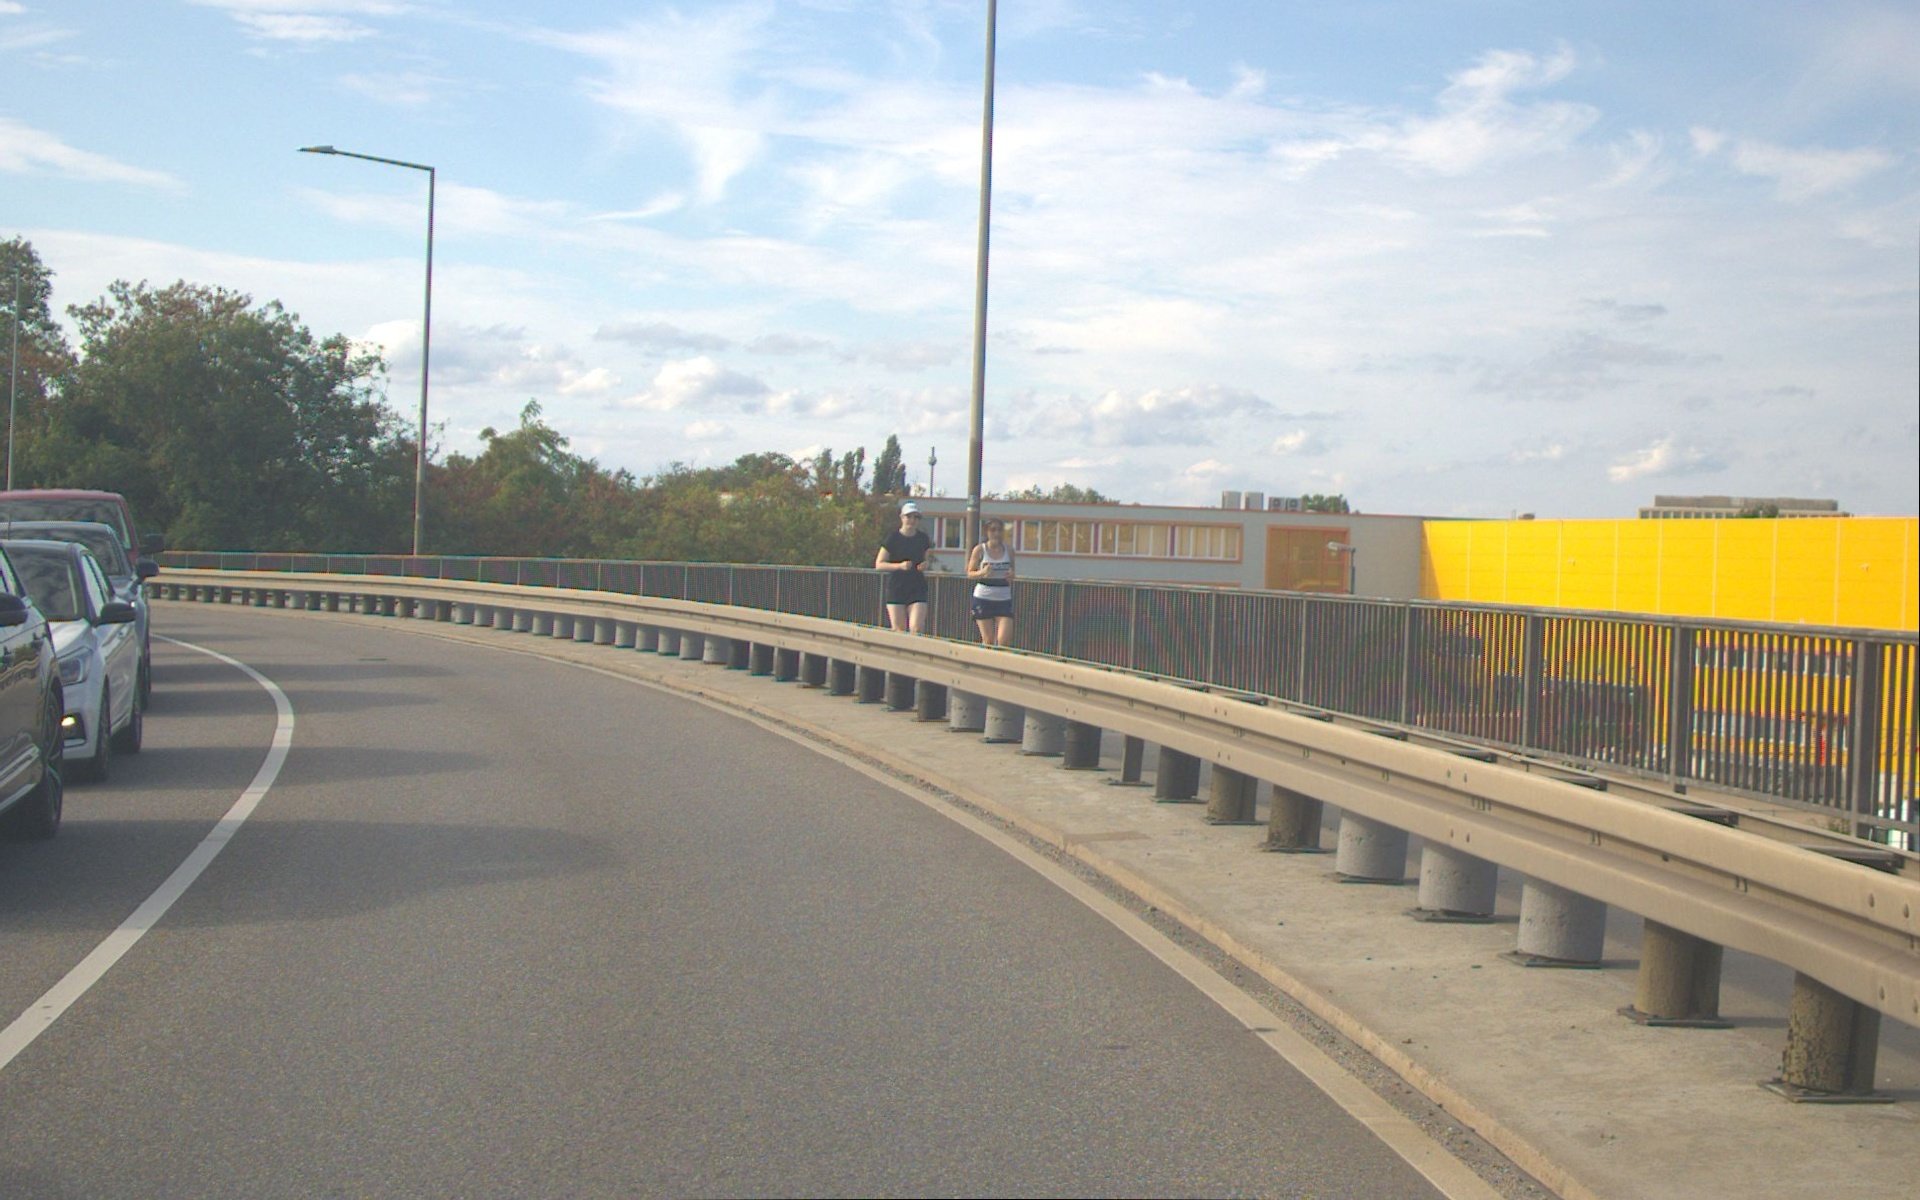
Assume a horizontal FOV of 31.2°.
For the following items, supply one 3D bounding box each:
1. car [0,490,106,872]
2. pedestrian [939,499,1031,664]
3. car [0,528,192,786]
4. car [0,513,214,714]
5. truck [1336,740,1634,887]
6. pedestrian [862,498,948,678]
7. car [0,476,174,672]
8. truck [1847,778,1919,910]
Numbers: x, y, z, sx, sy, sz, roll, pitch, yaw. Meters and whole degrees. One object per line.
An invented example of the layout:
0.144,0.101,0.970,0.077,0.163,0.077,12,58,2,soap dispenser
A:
-5.142,0.351,15.321,1.829,1.666,4.867,0,1,-5,car
0.230,-0.180,32.544,0.676,1.538,0.961,0,1,-12,pedestrian
-6.067,0.296,22.142,1.740,1.495,4.078,0,1,-6,car
-7.421,0.056,29.771,1.752,1.604,4.315,-1,1,-11,car
16.043,6.477,105.086,8.588,4.077,2.668,0,3,-15,truck
-0.518,-0.121,32.149,0.676,1.656,0.866,0,1,-10,pedestrian
-9.320,-0.311,35.880,2.007,1.897,4.869,-1,1,-15,car
30.767,7.285,103.905,7.207,3.605,2.668,0,3,-15,truck
